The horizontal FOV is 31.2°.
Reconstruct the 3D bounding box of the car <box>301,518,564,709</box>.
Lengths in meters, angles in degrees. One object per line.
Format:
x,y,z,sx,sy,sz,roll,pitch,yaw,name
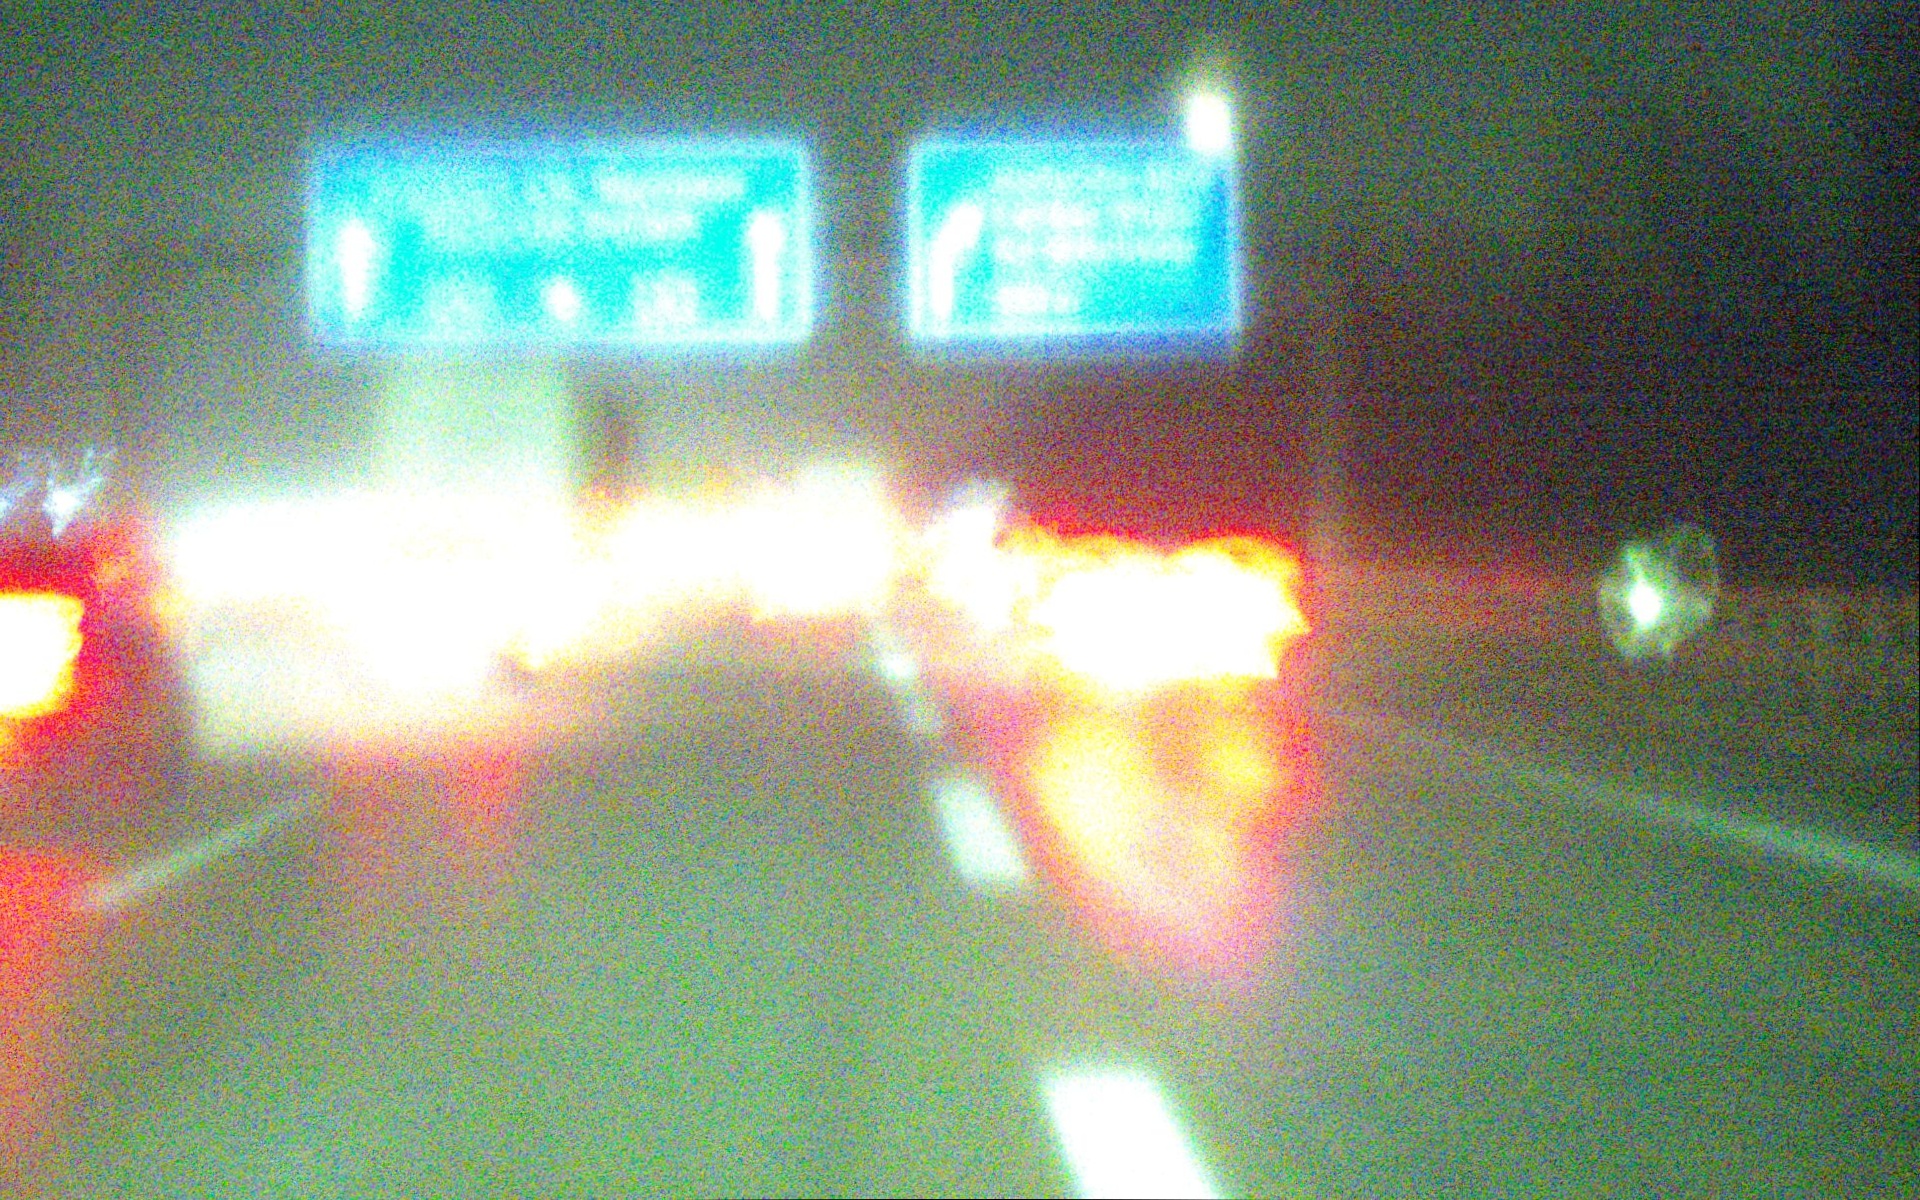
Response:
-5.207,0.096,34.511,2.038,1.755,4.516,1,1,-2,car

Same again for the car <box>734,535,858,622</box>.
-3.950,-0.551,83.895,2.832,2.007,5.510,1,1,-1,car

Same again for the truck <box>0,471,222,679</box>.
-10.375,-0.318,39.602,2.856,2.193,5.859,1,1,-4,truck

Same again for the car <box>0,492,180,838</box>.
-5.462,0.254,18.683,1.765,1.683,4.001,1,2,-4,car

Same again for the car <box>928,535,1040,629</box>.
0.428,-0.362,66.100,1.993,1.698,4.459,1,1,-1,car

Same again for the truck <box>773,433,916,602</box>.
-3.859,-2.639,111.988,4.161,5.197,9.956,1,1,-4,truck

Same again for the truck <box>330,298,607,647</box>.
-7.266,-1.818,52.222,3.655,4.721,9.854,1,1,-6,truck

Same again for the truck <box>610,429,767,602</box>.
-8.938,-2.758,114.776,4.254,5.425,10.885,1,1,0,truck

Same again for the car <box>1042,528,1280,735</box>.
1.783,0.249,31.694,1.878,1.756,4.000,1,1,-1,car
